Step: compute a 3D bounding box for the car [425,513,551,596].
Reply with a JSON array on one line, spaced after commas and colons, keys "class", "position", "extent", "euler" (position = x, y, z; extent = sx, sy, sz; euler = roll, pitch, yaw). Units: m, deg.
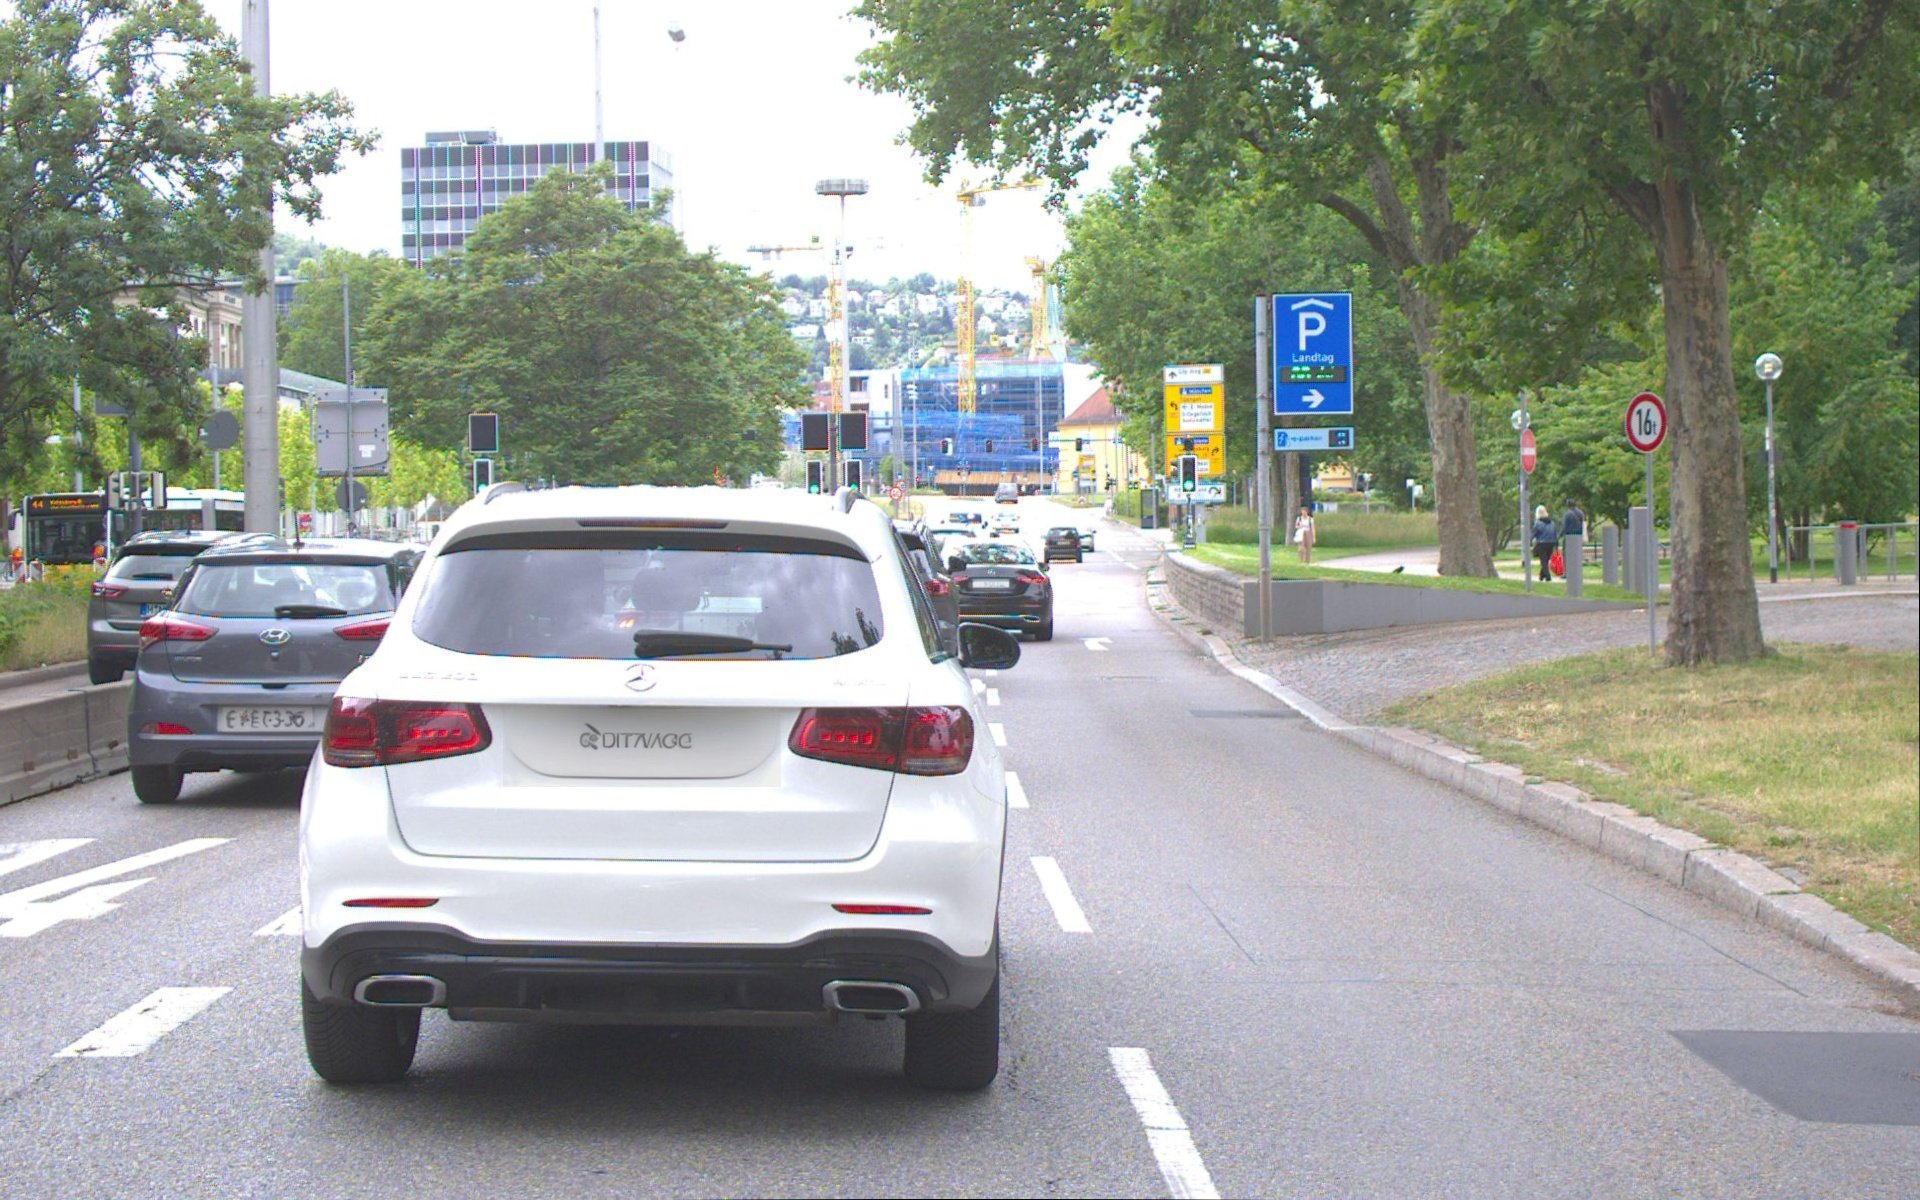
[{"class": "car", "position": [-8.467, -0.841, 61.940], "extent": [1.776, 1.415, 4.001], "euler": [-1, 1, -1]}]

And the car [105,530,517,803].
[{"class": "car", "position": [-3.678, 0.320, 20.120], "extent": [1.797, 1.432, 4.021], "euler": [0, 1, -2]}]

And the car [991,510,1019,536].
[{"class": "car", "position": [2.929, -5.046, 225.755], "extent": [1.758, 1.663, 4.168], "euler": [0, 1, -1]}]

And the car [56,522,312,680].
[{"class": "car", "position": [-7.410, -0.015, 33.155], "extent": [1.661, 1.431, 3.961], "euler": [0, 1, -1]}]

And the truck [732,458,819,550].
[{"class": "truck", "position": [-5.984, -3.118, 112.361], "extent": [2.620, 2.851, 7.079], "euler": [1, 1, -2]}]

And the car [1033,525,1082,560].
[{"class": "car", "position": [3.987, -2.369, 141.128], "extent": [1.947, 1.423, 4.017], "euler": [0, 1, 0]}]

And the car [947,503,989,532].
[{"class": "car", "position": [0.371, -3.860, 161.760], "extent": [1.947, 1.315, 4.017], "euler": [0, 1, 0]}]

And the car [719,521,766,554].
[{"class": "car", "position": [-8.790, -2.530, 139.346], "extent": [1.659, 1.315, 3.547], "euler": [0, 1, 0]}]

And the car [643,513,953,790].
[{"class": "car", "position": [-1.116, 0.265, 22.018], "extent": [1.795, 1.603, 3.756], "euler": [-1, 1, -5]}]

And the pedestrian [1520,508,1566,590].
[{"class": "pedestrian", "position": [11.475, -1.004, 67.627], "extent": [0.660, 1.605, 0.641], "euler": [-1, 1, -18]}]

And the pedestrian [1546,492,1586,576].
[{"class": "pedestrian", "position": [12.477, -1.368, 70.807], "extent": [0.759, 1.719, 0.699], "euler": [0, 1, 7]}]

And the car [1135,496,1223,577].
[{"class": "car", "position": [5.535, -1.599, 87.211], "extent": [1.993, 2.007, 4.000], "euler": [0, 1, 0]}]

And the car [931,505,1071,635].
[{"class": "car", "position": [0.539, -0.448, 48.461], "extent": [1.825, 1.746, 4.000], "euler": [-1, 1, -1]}]

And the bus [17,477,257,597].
[{"class": "bus", "position": [-23.610, -1.854, 99.648], "extent": [3.667, 3.194, 14.275], "euler": [-1, 1, -1]}]

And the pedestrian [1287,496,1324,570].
[{"class": "pedestrian", "position": [9.422, -1.837, 93.761], "extent": [0.761, 2.007, 0.697], "euler": [0, 1, 35]}]

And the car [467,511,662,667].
[{"class": "car", "position": [-4.330, -0.144, 38.276], "extent": [1.851, 1.622, 4.907], "euler": [0, 1, -3]}]

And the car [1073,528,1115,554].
[{"class": "car", "position": [6.672, -2.931, 170.992], "extent": [1.947, 1.315, 4.017], "euler": [0, 1, 0]}]

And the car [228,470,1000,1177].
[{"class": "car", "position": [-0.803, 0.492, 10.409], "extent": [1.788, 1.619, 4.437], "euler": [2, 1, 1]}]

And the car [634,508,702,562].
[{"class": "car", "position": [-8.422, -1.879, 99.412], "extent": [1.659, 1.508, 3.547], "euler": [-1, 1, 0]}]

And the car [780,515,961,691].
[{"class": "car", "position": [-0.928, -0.007, 33.951], "extent": [1.659, 1.633, 3.548], "euler": [-1, 1, -3]}]
